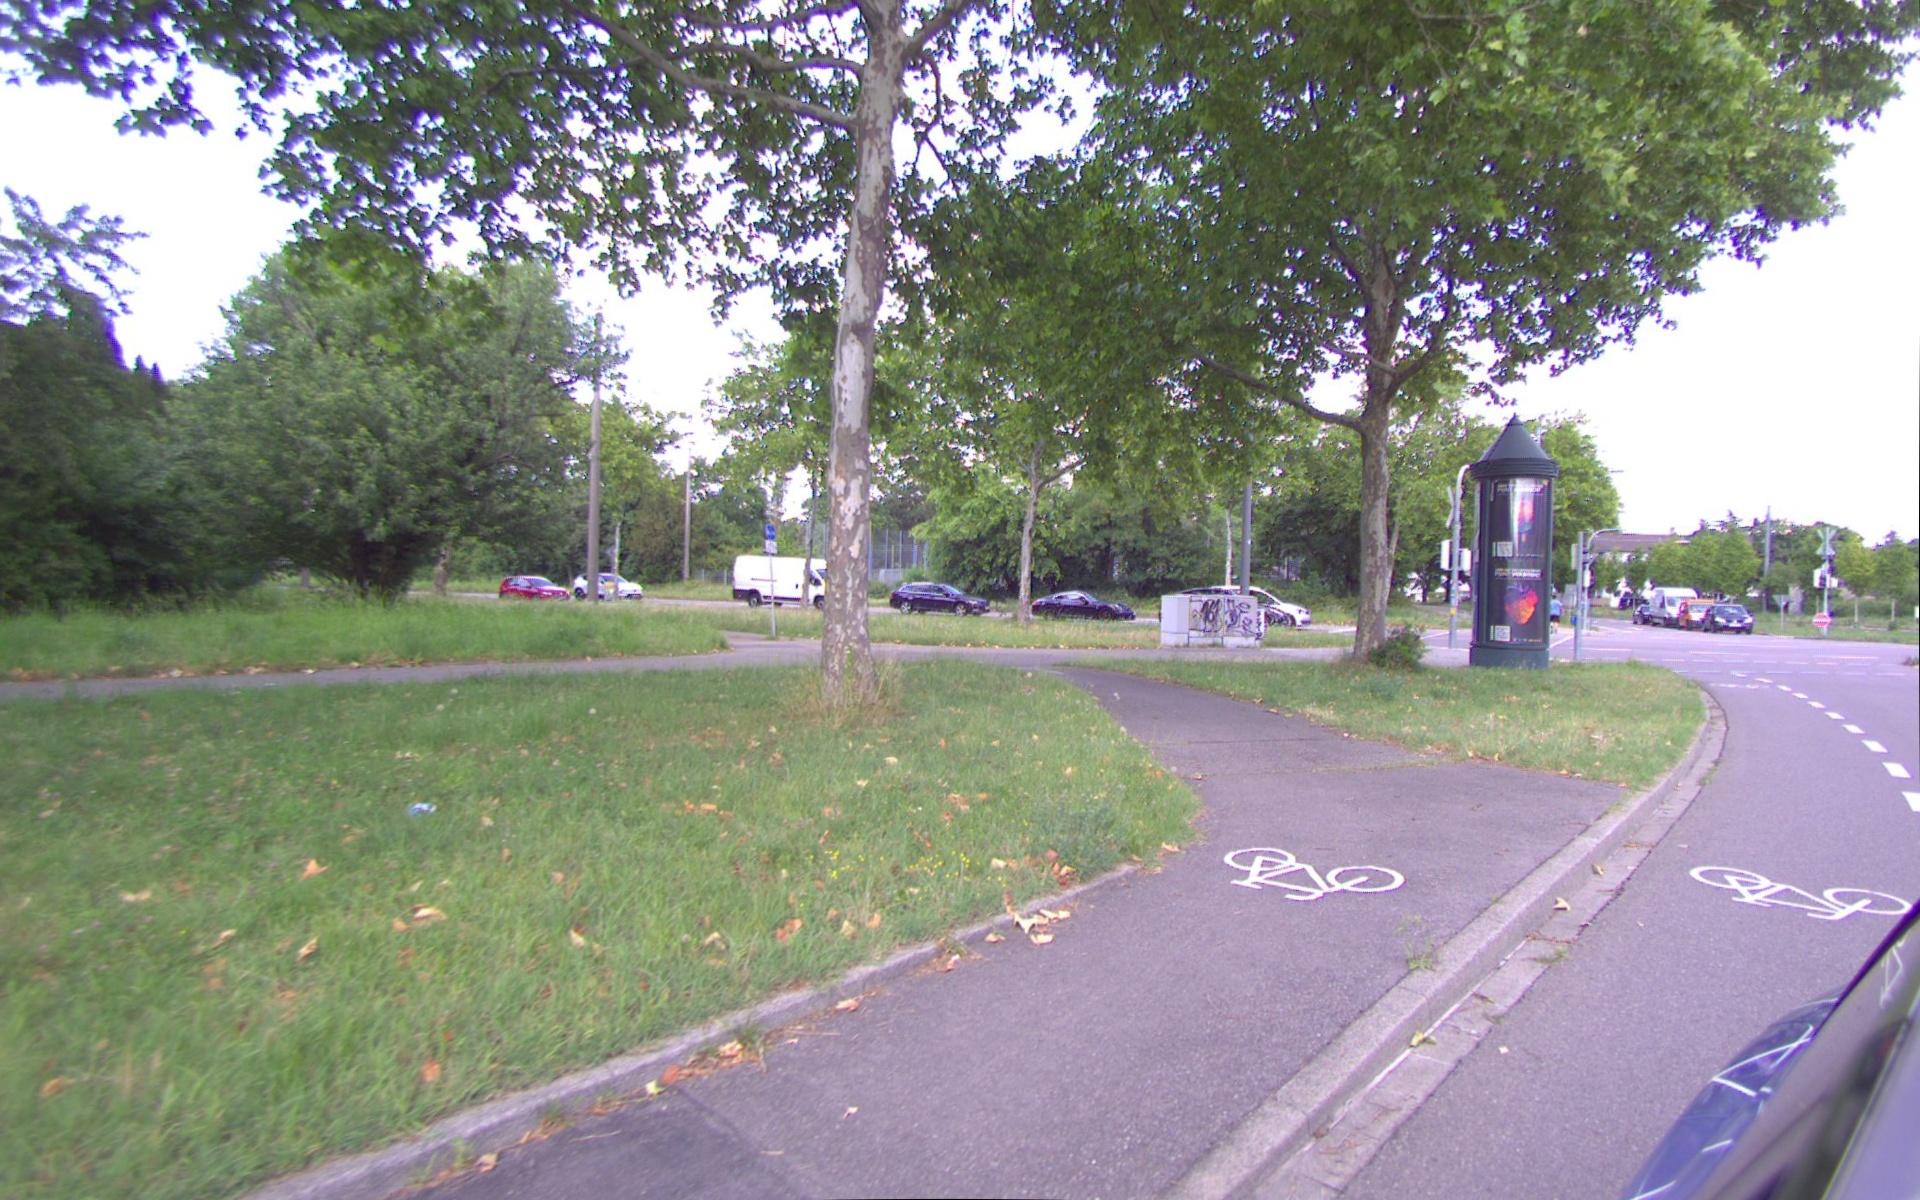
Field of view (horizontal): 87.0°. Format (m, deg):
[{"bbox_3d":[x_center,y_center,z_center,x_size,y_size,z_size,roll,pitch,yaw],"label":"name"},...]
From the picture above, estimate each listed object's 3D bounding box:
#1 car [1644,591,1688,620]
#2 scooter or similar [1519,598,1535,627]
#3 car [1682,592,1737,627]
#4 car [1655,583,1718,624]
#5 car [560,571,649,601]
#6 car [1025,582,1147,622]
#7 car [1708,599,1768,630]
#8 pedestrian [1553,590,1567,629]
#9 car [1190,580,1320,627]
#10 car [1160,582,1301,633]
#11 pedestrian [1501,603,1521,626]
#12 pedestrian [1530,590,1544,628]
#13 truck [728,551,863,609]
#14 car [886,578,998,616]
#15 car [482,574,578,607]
[{"bbox_3d":[49.623,0.336,71.170,1.777,1.959,4.331,1,1,25],"label":"car"},{"bbox_3d":[23.338,0.502,41.643,0.390,1.175,1.109,2,1,21],"label":"scooter or similar"},{"bbox_3d":[44.471,0.509,60.139,1.778,1.959,4.330,1,1,25],"label":"car"},{"bbox_3d":[47.297,0.183,65.980,2.216,2.538,5.678,1,1,24],"label":"car"},{"bbox_3d":[-19.701,-0.820,56.032,4.638,1.532,1.983,2,2,25],"label":"car"},{"bbox_3d":[5.263,0.065,42.424,4.700,1.487,1.983,2,2,25],"label":"car"},{"bbox_3d":[41.926,0.762,54.651,1.778,1.558,3.964,1,1,26],"label":"car"},{"bbox_3d":[24.333,0.379,41.041,0.415,1.527,0.447,1,0,24],"label":"pedestrian"},{"bbox_3d":[11.585,0.097,39.771,4.638,1.630,1.983,2,2,25],"label":"car"},{"bbox_3d":[9.775,0.226,36.566,4.639,1.630,1.983,2,2,26],"label":"car"},{"bbox_3d":[25.777,0.662,47.358,0.715,1.047,0.894,2,1,25],"label":"pedestrian"},{"bbox_3d":[23.740,0.354,41.635,0.415,1.527,0.390,1,0,24],"label":"pedestrian"},{"bbox_3d":[-8.072,-0.994,49.455,6.443,2.628,2.197,2,1,26],"label":"truck"},{"bbox_3d":[-0.821,-0.172,45.612,4.638,1.532,1.983,2,2,25],"label":"car"},{"bbox_3d":[-22.236,-0.514,52.337,4.638,1.532,1.983,2,2,25],"label":"car"}]
